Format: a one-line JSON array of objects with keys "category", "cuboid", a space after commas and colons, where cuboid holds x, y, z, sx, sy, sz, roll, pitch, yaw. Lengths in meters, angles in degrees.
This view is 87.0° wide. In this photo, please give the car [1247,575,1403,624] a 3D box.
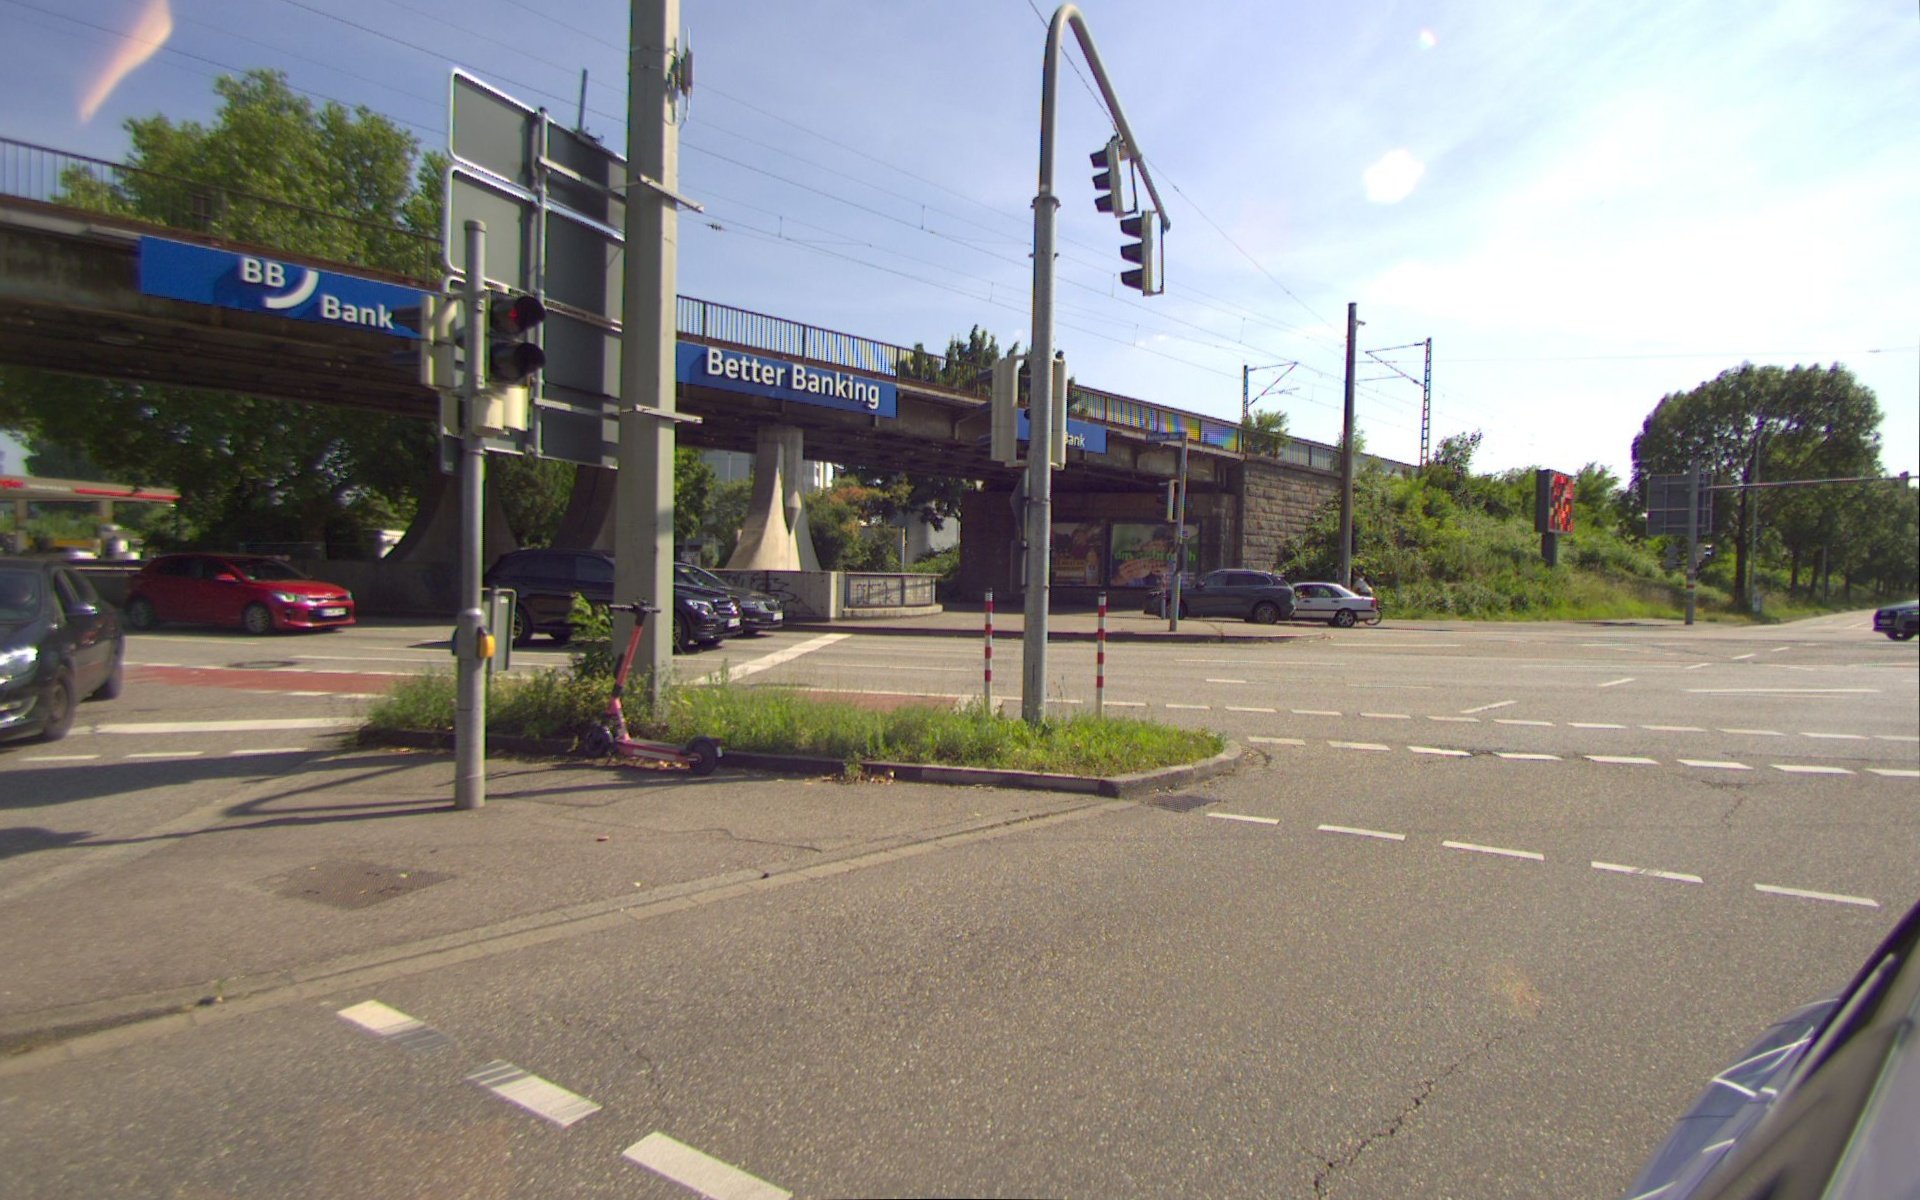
[{"category": "car", "cuboid": [11.499, -0.042, 32.137, 4.369, 1.409, 1.712, 2, 1, 10]}]

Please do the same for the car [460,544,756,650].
[{"category": "car", "cuboid": [-5.934, -0.095, 17.335, 4.371, 1.616, 1.996, 1, 1, 9]}]

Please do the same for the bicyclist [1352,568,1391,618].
[{"category": "bicyclist", "cuboid": [13.931, -0.238, 34.295, 1.052, 1.655, 0.803, 2, -1, 13]}]

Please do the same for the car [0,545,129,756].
[{"category": "car", "cuboid": [-8.643, 0.287, 8.806, 1.793, 1.525, 4.218, 0, 2, -34]}]

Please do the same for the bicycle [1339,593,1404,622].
[{"category": "bicycle", "cuboid": [13.921, 0.252, 34.288, 1.897, 0.904, 0.814, 2, -1, 13]}]

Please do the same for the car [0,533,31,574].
[{"category": "car", "cuboid": [-38.775, -1.859, 39.148, 4.414, 1.527, 1.992, 2, -1, 12]}]

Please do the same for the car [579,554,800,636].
[{"category": "car", "cuboid": [-5.358, -0.131, 20.166, 3.942, 1.460, 1.685, 1, 1, 15]}]

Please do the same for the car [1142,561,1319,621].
[{"category": "car", "cuboid": [7.959, -0.296, 30.232, 4.896, 1.628, 1.943, 1, 1, 11]}]

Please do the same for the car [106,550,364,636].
[{"category": "car", "cuboid": [-13.506, -0.183, 18.936, 3.937, 1.437, 1.703, 1, 3, 12]}]

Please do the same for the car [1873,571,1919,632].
[{"category": "car", "cuboid": [26.958, 0.058, 26.288, 4.488, 1.569, 1.825, 0, 0, 11]}]
